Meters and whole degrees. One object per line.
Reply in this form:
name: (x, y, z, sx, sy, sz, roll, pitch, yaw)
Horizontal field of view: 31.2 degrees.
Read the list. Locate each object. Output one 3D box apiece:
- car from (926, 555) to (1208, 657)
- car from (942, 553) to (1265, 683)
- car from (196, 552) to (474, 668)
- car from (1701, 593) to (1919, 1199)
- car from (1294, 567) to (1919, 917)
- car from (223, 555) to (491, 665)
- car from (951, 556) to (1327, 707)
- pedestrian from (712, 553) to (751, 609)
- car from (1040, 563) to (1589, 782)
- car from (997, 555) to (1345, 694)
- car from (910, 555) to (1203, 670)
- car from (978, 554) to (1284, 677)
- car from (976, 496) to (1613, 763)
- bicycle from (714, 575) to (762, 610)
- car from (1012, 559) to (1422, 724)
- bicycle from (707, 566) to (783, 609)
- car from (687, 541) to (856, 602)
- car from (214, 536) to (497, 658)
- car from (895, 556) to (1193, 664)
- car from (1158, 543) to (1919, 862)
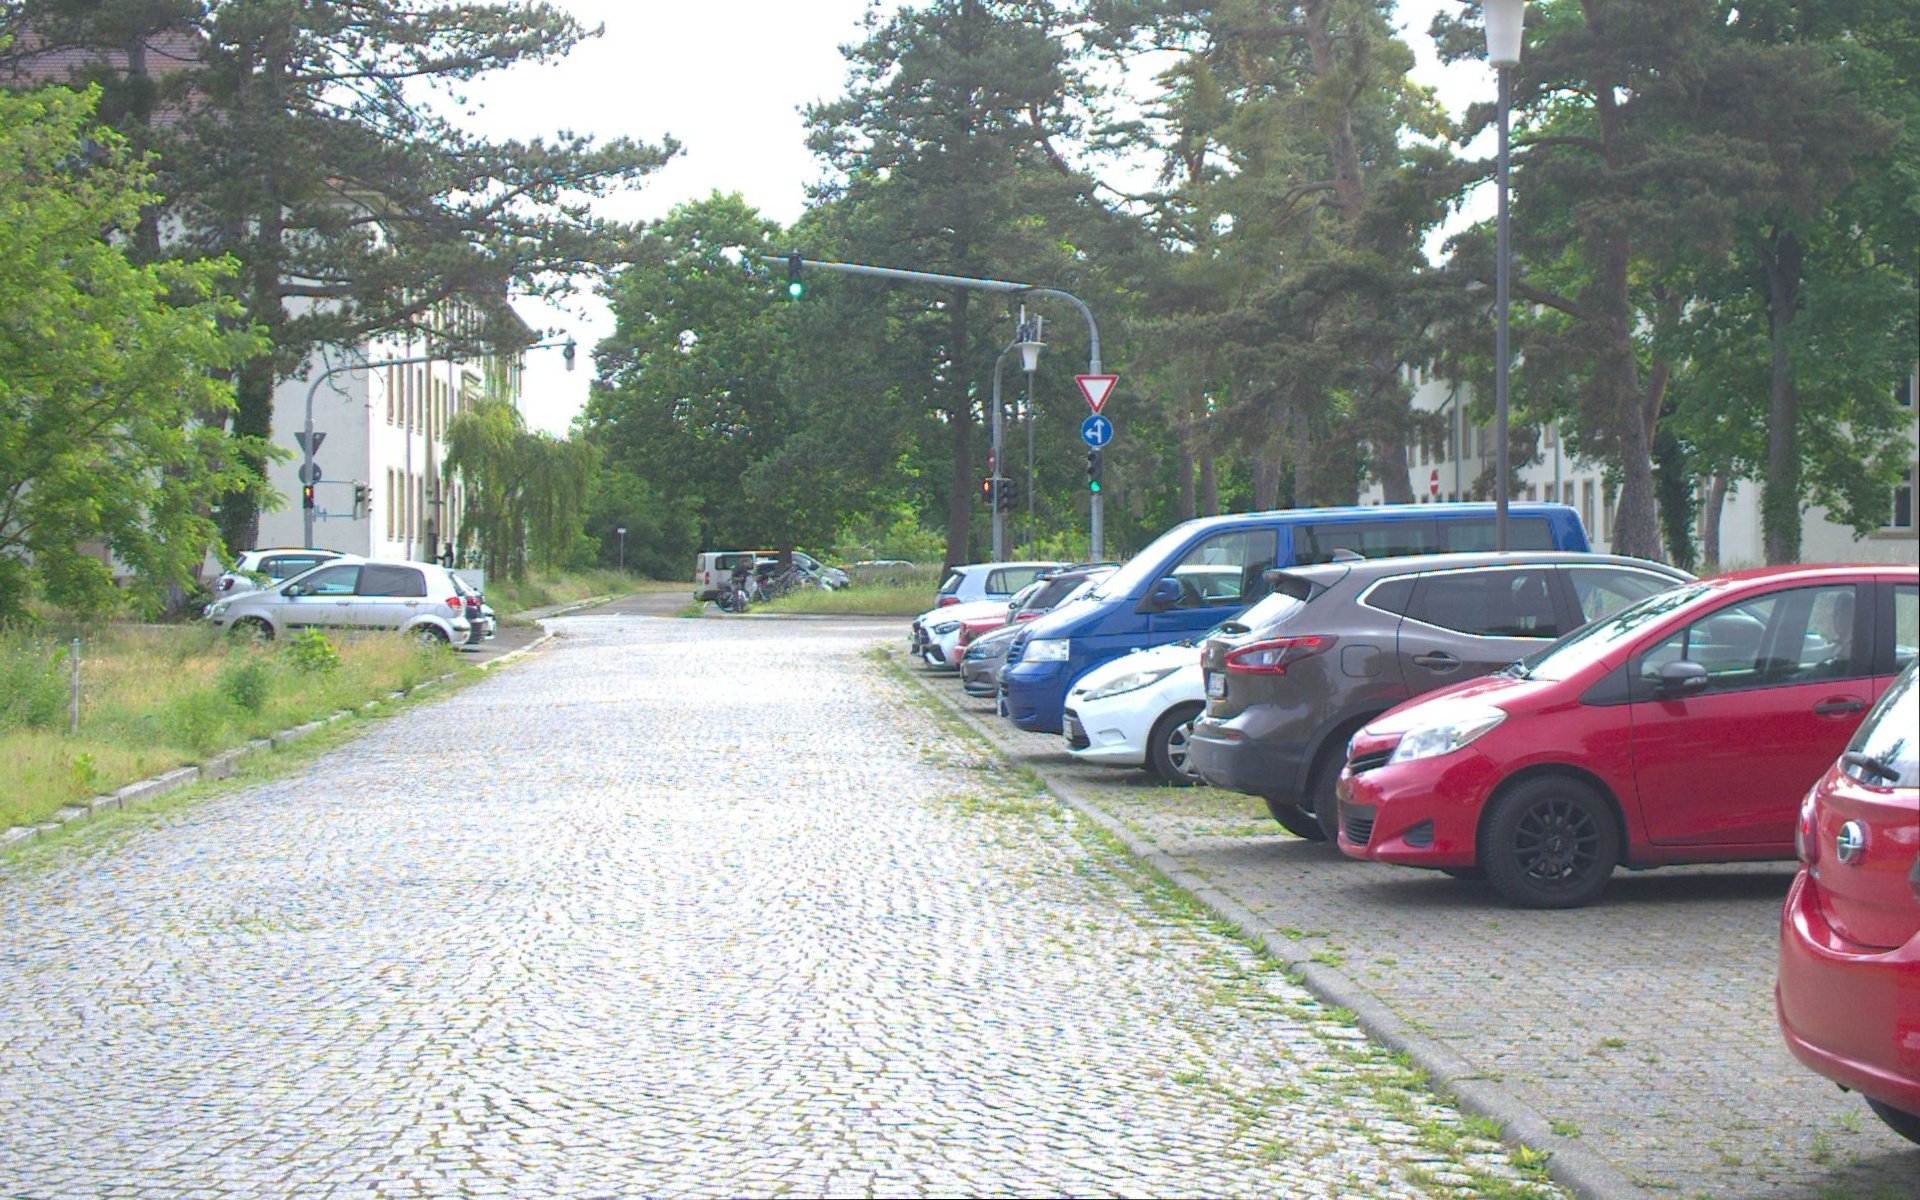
car: (1.572, 0.078, 51.255, 3.967, 1.416, 1.620, -1, 0, -7)
car: (1.689, 0.206, 41.203, 3.671, 1.444, 1.524, -1, 0, -5)
car: (-8.983, 0.130, 49.622, 3.821, 1.567, 1.565, -1, 0, -6)
car: (3.939, 0.687, 8.313, 3.825, 1.455, 1.779, -1, 0, -4)
car: (3.578, 0.598, 15.895, 3.791, 1.455, 1.751, -1, 0, -3)
car: (-9.090, 0.140, 52.037, 3.821, 1.567, 1.564, -1, 0, -4)
car: (1.819, 0.311, 35.508, 3.671, 1.444, 1.524, -1, 0, -5)
pedestrian: (-6.630, -0.563, 99.662, 1.033, 1.608, 0.758, 1, 0, -10)
car: (2.518, 0.497, 24.879, 3.671, 1.444, 1.615, -1, 0, -6)
car: (2.335, 0.261, 38.528, 3.671, 1.444, 1.524, -1, 0, -5)
car: (1.256, 0.156, 45.725, 3.671, 1.416, 1.524, -1, 0, -7)
car: (2.137, 0.184, 43.515, 3.671, 1.444, 1.524, -1, 0, -5)
car: (2.602, 0.215, 27.478, 4.753, 1.948, 1.932, -1, 0, -5)
bicycle: (-6.189, -0.217, 95.771, 0.620, 0.942, 1.663, 1, 1, -31)
car: (2.414, 0.377, 32.757, 3.671, 1.444, 1.524, -1, 0, -5)
bicycle: (-6.215, -0.355, 99.497, 2.136, 1.210, 0.622, 1, 0, -8)
car: (-6.467, -0.970, 117.763, 5.444, 2.007, 2.269, 1, 0, -12)
car: (-9.624, -0.057, 54.999, 4.262, 1.834, 1.744, -1, 0, -4)
car: (1.166, 0.127, 48.580, 3.967, 1.416, 1.620, -1, 0, -7)
car: (3.214, 0.507, 18.529, 4.028, 1.547, 1.751, -1, 0, -6)
